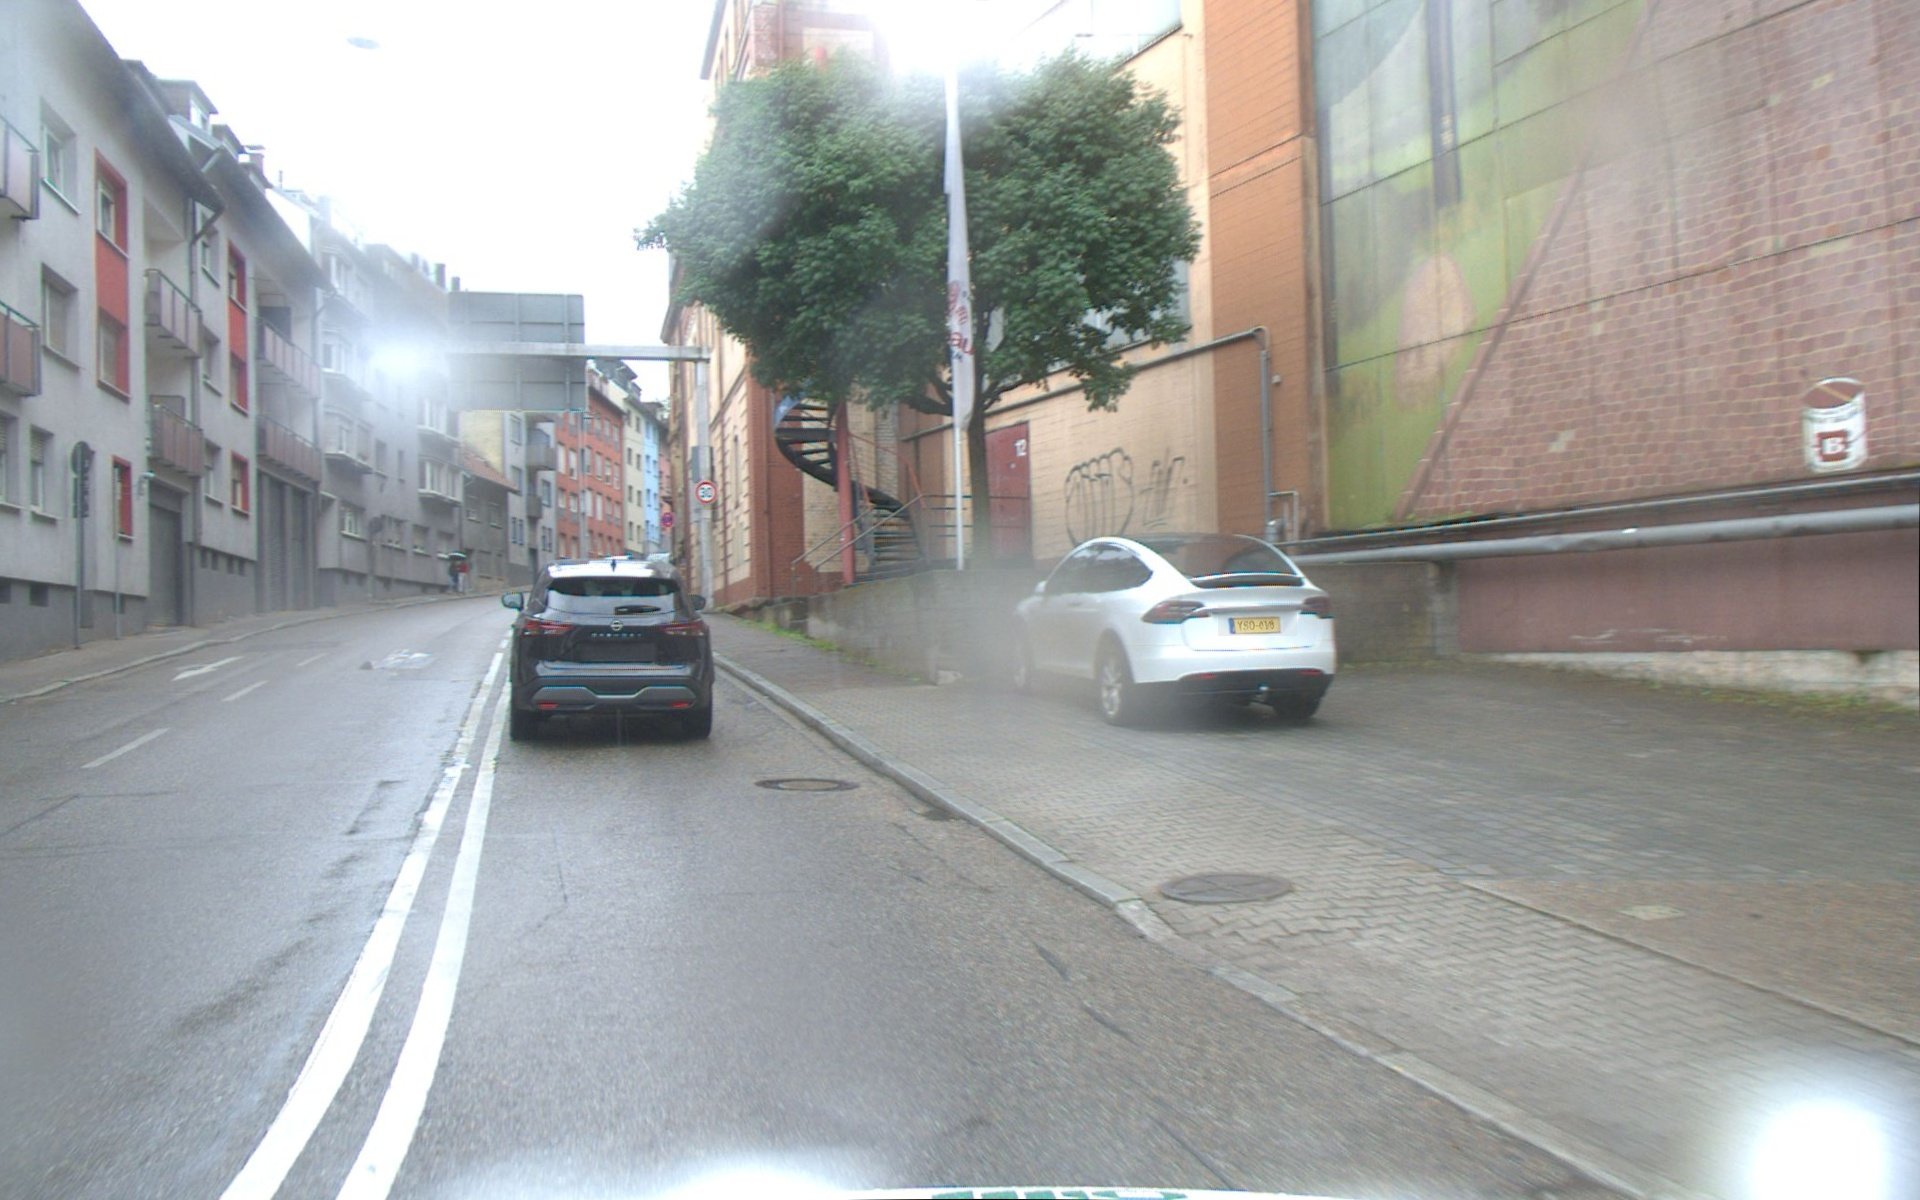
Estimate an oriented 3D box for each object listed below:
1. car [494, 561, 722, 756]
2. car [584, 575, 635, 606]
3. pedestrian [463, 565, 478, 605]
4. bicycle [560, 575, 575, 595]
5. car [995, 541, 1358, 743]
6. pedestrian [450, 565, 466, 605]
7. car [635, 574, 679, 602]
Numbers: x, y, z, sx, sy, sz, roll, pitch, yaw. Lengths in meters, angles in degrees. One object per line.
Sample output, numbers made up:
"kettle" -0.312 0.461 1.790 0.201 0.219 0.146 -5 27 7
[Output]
"car" -3.475 0.483 15.873 1.850 1.621 3.905 1 0 -16
"car" -18.444 -0.491 87.219 1.757 1.537 4.000 -1 -1 1
"pedestrian" -22.238 -0.681 75.090 0.513 1.807 0.621 -1 1 -8
"bicycle" -23.930 -0.906 100.763 0.488 1.126 1.800 -1 2 -1
"car" 1.883 0.251 16.153 1.822 1.645 4.897 -1 2 -15
"pedestrian" -22.768 -0.672 75.005 0.513 1.807 0.621 -1 1 -8
"car" -18.194 -0.689 99.445 1.757 1.537 4.000 -1 -1 1
